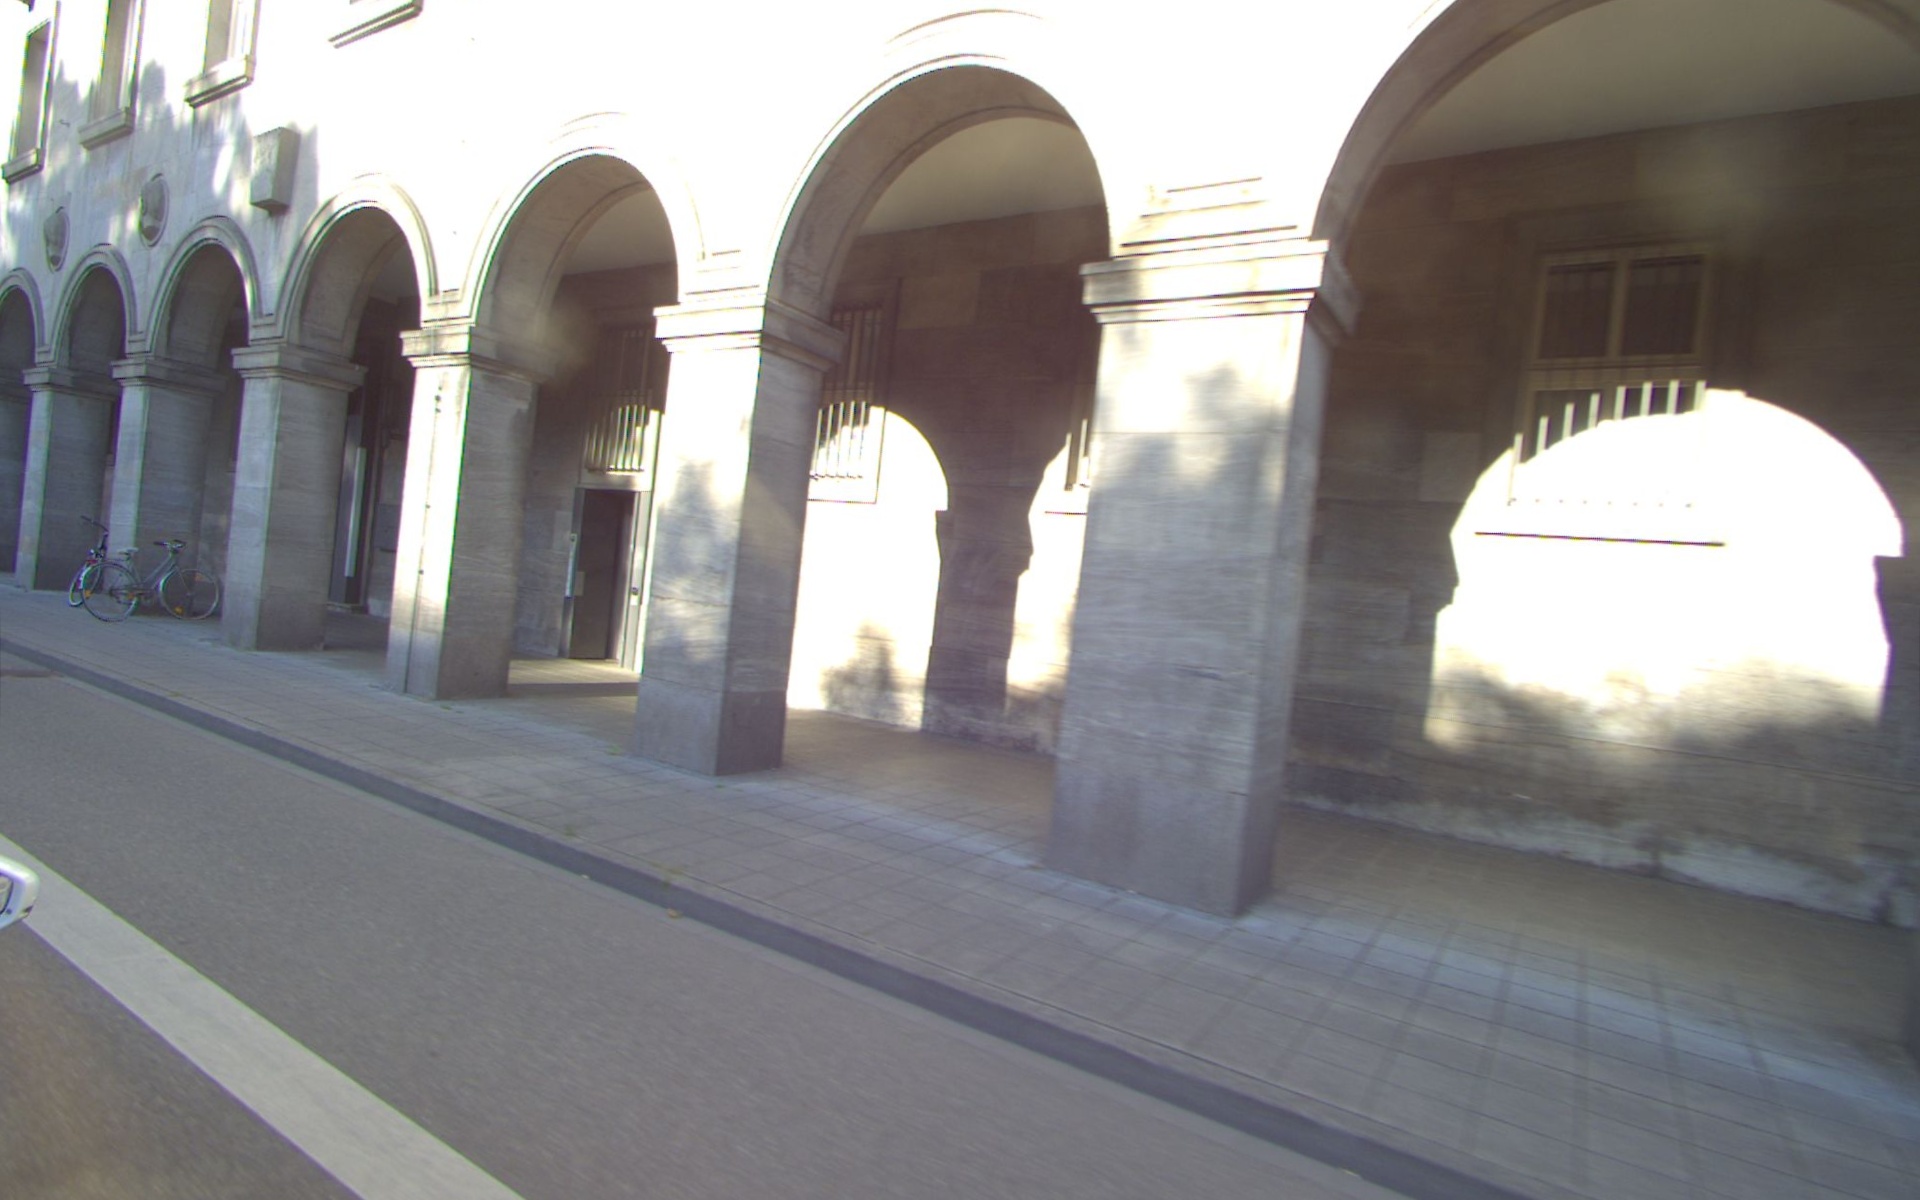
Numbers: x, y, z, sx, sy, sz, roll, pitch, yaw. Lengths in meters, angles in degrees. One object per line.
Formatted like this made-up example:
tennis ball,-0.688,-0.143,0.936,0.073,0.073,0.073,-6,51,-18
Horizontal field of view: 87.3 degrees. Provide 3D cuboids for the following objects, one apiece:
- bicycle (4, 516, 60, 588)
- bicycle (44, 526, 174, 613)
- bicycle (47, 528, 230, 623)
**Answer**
bicycle,-14.908,-0.792,16.179,0.468,1.064,1.695,4,2,-38
bicycle,-11.685,-0.420,13.877,0.602,1.064,1.708,5,1,-14
bicycle,-10.242,-0.273,12.622,0.518,1.064,1.712,6,1,18
